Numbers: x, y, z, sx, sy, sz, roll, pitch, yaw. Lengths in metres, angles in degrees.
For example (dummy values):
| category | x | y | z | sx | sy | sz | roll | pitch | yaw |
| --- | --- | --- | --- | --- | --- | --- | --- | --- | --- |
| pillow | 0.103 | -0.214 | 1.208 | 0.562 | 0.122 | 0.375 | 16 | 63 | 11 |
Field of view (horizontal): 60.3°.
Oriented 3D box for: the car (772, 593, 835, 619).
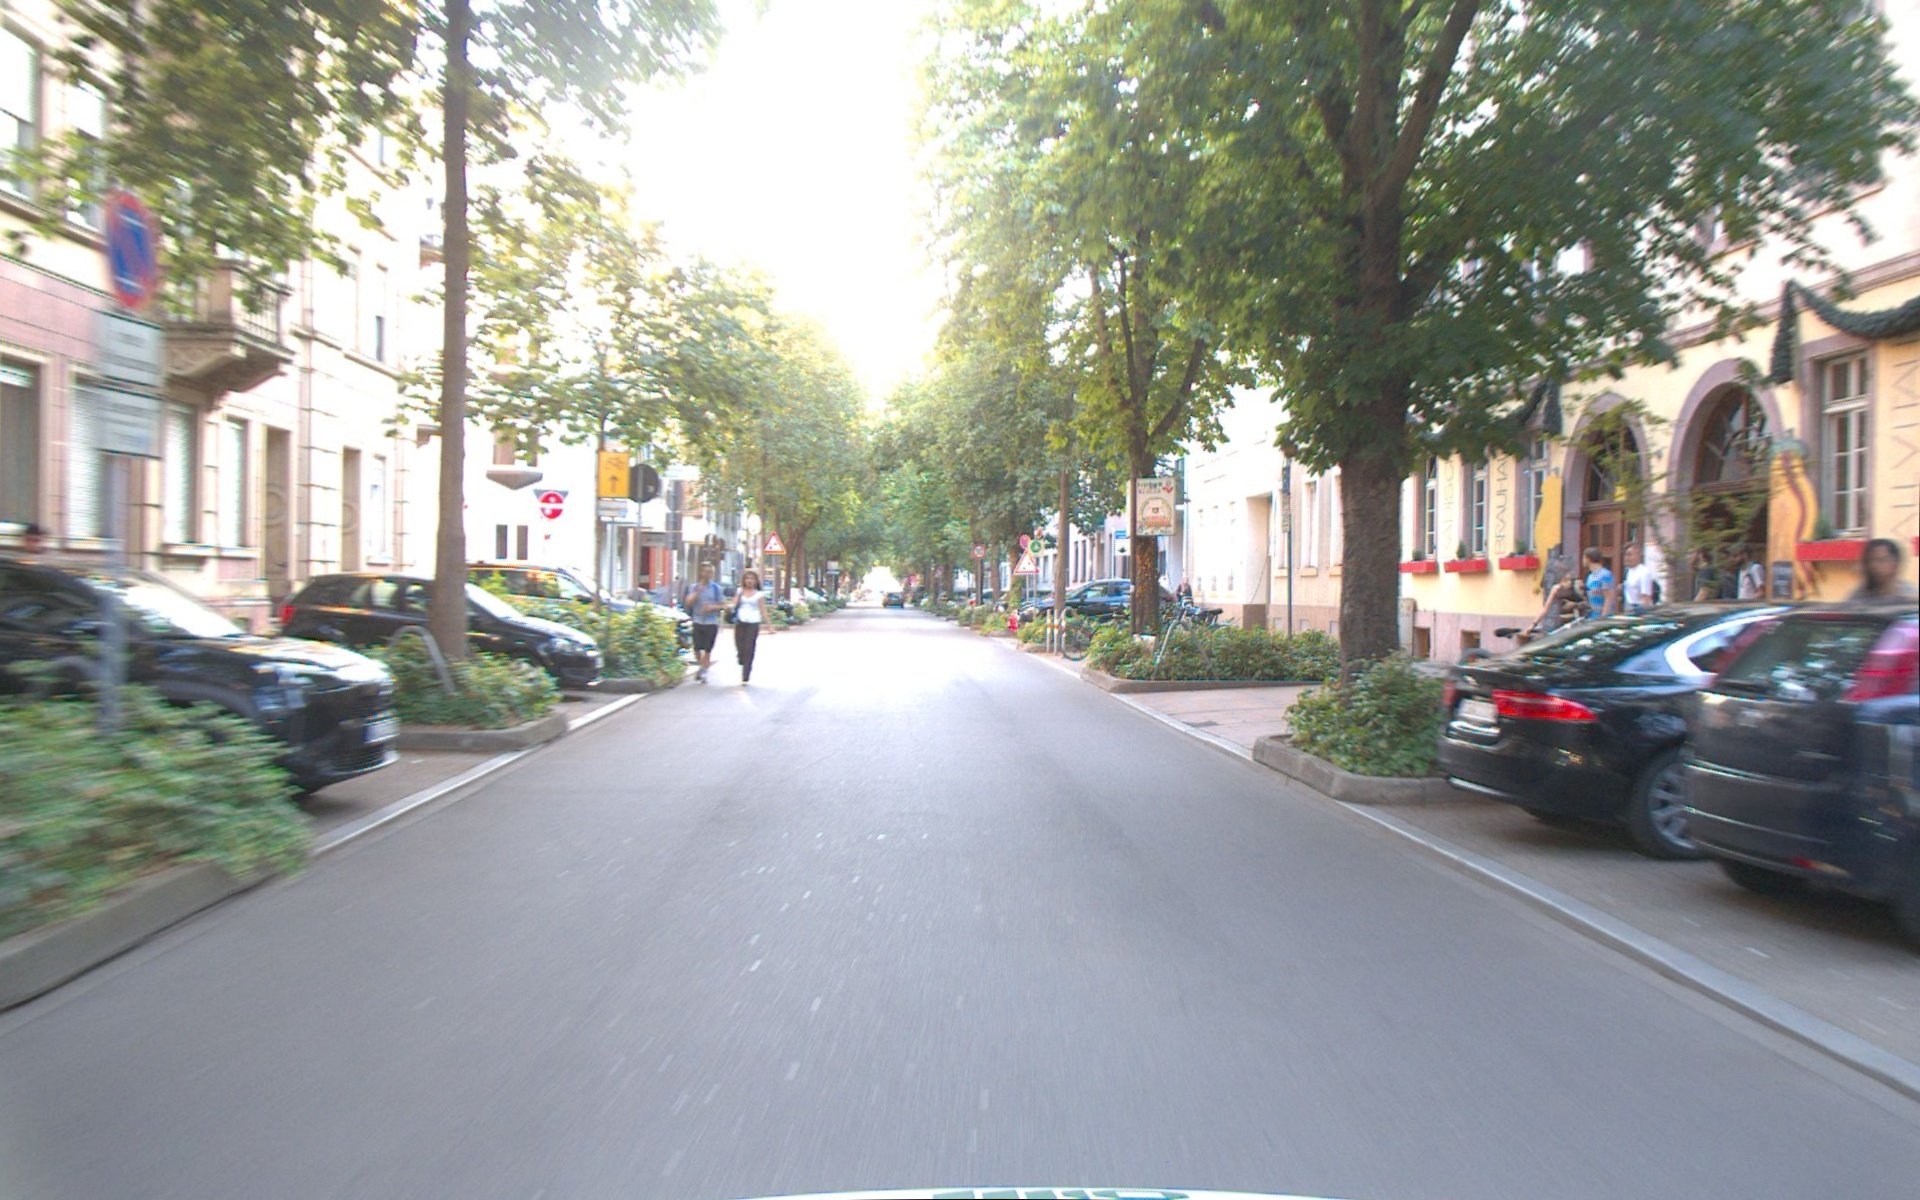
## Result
| category | x | y | z | sx | sy | sz | roll | pitch | yaw |
| --- | --- | --- | --- | --- | --- | --- | --- | --- | --- |
| car | -10.555 | 0.399 | 112.044 | 4.119 | 1.664 | 1.962 | -1 | 0 | -3 |

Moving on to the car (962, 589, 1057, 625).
| category | x | y | z | sx | sy | sz | roll | pitch | yaw |
| --- | --- | --- | --- | --- | --- | --- | --- | --- | --- |
| car | 2.065 | 0.285 | 70.146 | 3.802 | 1.465 | 1.845 | -1 | 0 | -6 |

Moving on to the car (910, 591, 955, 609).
| category | x | y | z | sx | sy | sz | roll | pitch | yaw |
| --- | --- | --- | --- | --- | --- | --- | --- | --- | --- |
| car | -2.598 | 0.025 | 155.320 | 4.183 | 1.593 | 1.962 | -1 | 0 | -3 |

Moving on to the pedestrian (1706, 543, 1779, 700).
| category | x | y | z | sx | sy | sz | roll | pitch | yaw |
| --- | --- | --- | --- | --- | --- | --- | --- | --- | --- |
| pedestrian | 9.041 | 0.237 | 19.131 | 0.710 | 1.769 | 0.744 | -1 | 1 | 24 |

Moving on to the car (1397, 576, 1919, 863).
| category | x | y | z | sx | sy | sz | roll | pitch | yaw |
| --- | --- | --- | --- | --- | --- | --- | --- | --- | --- |
| car | 5.151 | 0.624 | 10.230 | 4.315 | 1.418 | 1.884 | -3 | 0 | -5 |

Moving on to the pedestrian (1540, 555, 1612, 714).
| category | x | y | z | sx | sy | sz | roll | pitch | yaw |
| --- | --- | --- | --- | --- | --- | --- | --- | --- | --- |
| pedestrian | 7.054 | 0.384 | 18.957 | 0.696 | 1.769 | 0.748 | -1 | 1 | 17 |

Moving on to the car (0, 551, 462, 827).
| category | x | y | z | sx | sy | sz | roll | pitch | yaw |
| --- | --- | --- | --- | --- | --- | --- | --- | --- | --- |
| car | -5.383 | 0.502 | 10.511 | 3.867 | 1.559 | 1.906 | 1 | 0 | -4 |

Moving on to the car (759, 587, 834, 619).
| category | x | y | z | sx | sy | sz | roll | pitch | yaw |
| --- | --- | --- | --- | --- | --- | --- | --- | --- | --- |
| car | -10.299 | 0.186 | 104.328 | 4.589 | 1.886 | 1.962 | -1 | 0 | -3 |

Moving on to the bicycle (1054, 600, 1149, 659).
| category | x | y | z | sx | sy | sz | roll | pitch | yaw |
| --- | --- | --- | --- | --- | --- | --- | --- | --- | --- |
| bicycle | 2.894 | 0.588 | 33.864 | 1.805 | 1.155 | 0.742 | -1 | 0 | -13 |

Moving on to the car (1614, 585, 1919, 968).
| category | x | y | z | sx | sy | sz | roll | pitch | yaw |
| --- | --- | --- | --- | --- | --- | --- | --- | --- | --- |
| car | 5.431 | 0.643 | 7.763 | 3.909 | 1.462 | 1.925 | -3 | 0 | -5 |

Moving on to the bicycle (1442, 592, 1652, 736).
| category | x | y | z | sx | sy | sz | roll | pitch | yaw |
| --- | --- | --- | --- | --- | --- | --- | --- | --- | --- |
| bicycle | 5.559 | 0.584 | 15.680 | 1.763 | 1.254 | 0.671 | -2 | 0 | -13 |

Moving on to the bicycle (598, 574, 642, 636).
| category | x | y | z | sx | sy | sz | roll | pitch | yaw |
| --- | --- | --- | --- | --- | --- | --- | --- | --- | --- |
| bicycle | -6.328 | 0.111 | 30.847 | 0.512 | 1.077 | 1.860 | 4 | -2 | -5 |

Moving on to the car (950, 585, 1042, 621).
| category | x | y | z | sx | sy | sz | roll | pitch | yaw |
| --- | --- | --- | --- | --- | --- | --- | --- | --- | --- |
| car | 1.809 | 0.143 | 84.049 | 4.622 | 1.740 | 1.949 | 1 | 1 | -1 |

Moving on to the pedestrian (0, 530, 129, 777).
| category | x | y | z | sx | sy | sz | roll | pitch | yaw |
| --- | --- | --- | --- | --- | --- | --- | --- | --- | --- |
| pedestrian | -6.741 | 0.383 | 12.300 | 0.719 | 1.769 | 0.671 | 2 | 0 | 3 |

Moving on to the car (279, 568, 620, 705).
| category | x | y | z | sx | sy | sz | roll | pitch | yaw |
| --- | --- | --- | --- | --- | --- | --- | --- | --- | --- |
| car | -6.200 | 0.422 | 20.429 | 3.619 | 1.483 | 1.871 | 2 | 1 | -4 |

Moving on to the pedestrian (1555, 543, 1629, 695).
| category | x | y | z | sx | sy | sz | roll | pitch | yaw |
| --- | --- | --- | --- | --- | --- | --- | --- | --- | --- |
| pedestrian | 7.568 | 0.217 | 19.832 | 0.603 | 1.769 | 0.623 | -1 | 1 | -3 |

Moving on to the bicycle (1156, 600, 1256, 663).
| category | x | y | z | sx | sy | sz | roll | pitch | yaw |
| --- | --- | --- | --- | --- | --- | --- | --- | --- | --- |
| bicycle | 4.653 | 0.594 | 31.336 | 1.761 | 1.148 | 0.663 | -1 | 0 | -9 |

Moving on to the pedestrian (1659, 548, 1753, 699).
| category | x | y | z | sx | sy | sz | roll | pitch | yaw |
| --- | --- | --- | --- | --- | --- | --- | --- | --- | --- |
| pedestrian | 9.038 | 0.269 | 20.052 | 0.765 | 1.769 | 0.681 | -2 | 1 | -19 |

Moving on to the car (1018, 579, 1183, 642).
| category | x | y | z | sx | sy | sz | roll | pitch | yaw |
| --- | --- | --- | --- | --- | --- | --- | --- | --- | --- |
| car | 3.825 | 0.274 | 45.539 | 4.336 | 1.685 | 1.899 | 0 | 0 | -2 |

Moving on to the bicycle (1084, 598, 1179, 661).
| category | x | y | z | sx | sy | sz | roll | pitch | yaw |
| --- | --- | --- | --- | --- | --- | --- | --- | --- | --- |
| bicycle | 3.371 | 0.573 | 32.561 | 1.793 | 1.199 | 0.600 | -1 | 0 | -4 |

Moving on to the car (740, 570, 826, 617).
| category | x | y | z | sx | sy | sz | roll | pitch | yaw |
| --- | --- | --- | --- | --- | --- | --- | --- | --- | --- |
| car | -9.791 | -0.356 | 91.905 | 4.589 | 2.521 | 1.999 | 1 | 0 | -3 |

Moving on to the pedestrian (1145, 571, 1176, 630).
| category | x | y | z | sx | sy | sz | roll | pitch | yaw |
| --- | --- | --- | --- | --- | --- | --- | --- | --- | --- |
| pedestrian | 6.047 | 0.019 | 49.878 | 0.683 | 1.767 | 0.666 | 0 | 0 | -34 |

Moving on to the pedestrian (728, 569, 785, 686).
| category | x | y | z | sx | sy | sz | roll | pitch | yaw |
| --- | --- | --- | --- | --- | --- | --- | --- | --- | --- |
| pedestrian | -3.007 | 0.394 | 24.499 | 0.779 | 1.700 | 0.831 | 0 | 0 | -4 |

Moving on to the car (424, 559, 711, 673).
| category | x | y | z | sx | sy | sz | roll | pitch | yaw |
| --- | --- | --- | --- | --- | --- | --- | --- | --- | --- |
| car | -6.518 | 0.246 | 27.825 | 4.337 | 1.680 | 1.872 | 2 | 1 | -2 |

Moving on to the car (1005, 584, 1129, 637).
| category | x | y | z | sx | sy | sz | roll | pitch | yaw |
| --- | --- | --- | --- | --- | --- | --- | --- | --- | --- |
| car | 3.132 | 0.304 | 48.799 | 3.415 | 1.478 | 1.897 | -1 | 0 | -5 |

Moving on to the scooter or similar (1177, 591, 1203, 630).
| category | x | y | z | sx | sy | sz | roll | pitch | yaw |
| --- | --- | --- | --- | --- | --- | --- | --- | --- | --- |
| scooter or similar | 6.891 | 0.311 | 49.599 | 0.641 | 1.173 | 0.831 | 0 | 0 | -2 |

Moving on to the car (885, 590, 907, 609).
| category | x | y | z | sx | sy | sz | roll | pitch | yaw |
| --- | --- | --- | --- | --- | --- | --- | --- | --- | --- |
| car | -5.663 | -0.025 | 146.358 | 1.917 | 1.593 | 4.280 | -1 | 0 | -3 |

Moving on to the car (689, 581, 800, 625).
| category | x | y | z | sx | sy | sz | roll | pitch | yaw |
| --- | --- | --- | --- | --- | --- | --- | --- | --- | --- |
| car | -8.140 | 0.110 | 62.756 | 4.045 | 1.512 | 1.928 | 1 | 0 | -4 |

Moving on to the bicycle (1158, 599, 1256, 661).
| category | x | y | z | sx | sy | sz | roll | pitch | yaw |
| --- | --- | --- | --- | --- | --- | --- | --- | --- | --- |
| bicycle | 4.799 | 0.576 | 32.162 | 1.762 | 1.163 | 0.649 | -1 | 0 | -12 |

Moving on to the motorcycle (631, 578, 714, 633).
| category | x | y | z | sx | sy | sz | roll | pitch | yaw |
| --- | --- | --- | --- | --- | --- | --- | --- | --- | --- |
| motorcycle | -8.159 | 0.145 | 46.886 | 2.177 | 1.507 | 0.854 | 1 | 1 | -22 |

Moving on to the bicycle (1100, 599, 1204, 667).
| category | x | y | z | sx | sy | sz | roll | pitch | yaw |
| --- | --- | --- | --- | --- | --- | --- | --- | --- | --- |
| bicycle | 3.518 | 0.597 | 30.363 | 1.793 | 1.199 | 0.672 | -1 | 0 | -4 |

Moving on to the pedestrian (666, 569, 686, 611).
| category | x | y | z | sx | sy | sz | roll | pitch | yaw |
| --- | --- | --- | --- | --- | --- | --- | --- | --- | --- |
| pedestrian | -12.188 | -0.429 | 70.935 | 0.689 | 1.758 | 0.904 | 1 | 0 | -3 |

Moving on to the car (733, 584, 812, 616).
| category | x | y | z | sx | sy | sz | roll | pitch | yaw |
| --- | --- | --- | --- | --- | --- | --- | --- | --- | --- |
| car | -9.446 | -0.006 | 83.638 | 3.792 | 1.512 | 1.756 | 1 | 0 | -1 |

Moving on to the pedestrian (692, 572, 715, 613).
| category | x | y | z | sx | sy | sz | roll | pitch | yaw |
| --- | --- | --- | --- | --- | --- | --- | --- | --- | --- |
| pedestrian | -11.382 | -0.325 | 73.331 | 0.688 | 1.787 | 0.740 | 1 | 0 | 21 |

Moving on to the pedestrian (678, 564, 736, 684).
| category | x | y | z | sx | sy | sz | roll | pitch | yaw |
| --- | --- | --- | --- | --- | --- | --- | --- | --- | --- |
| pedestrian | -3.797 | 0.349 | 24.866 | 0.779 | 1.767 | 0.831 | 0 | 0 | -4 |

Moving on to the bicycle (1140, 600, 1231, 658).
| category | x | y | z | sx | sy | sz | roll | pitch | yaw |
| --- | --- | --- | --- | --- | --- | --- | --- | --- | --- |
| bicycle | 4.562 | 0.584 | 33.521 | 1.761 | 1.127 | 0.499 | -1 | 0 | -9 |

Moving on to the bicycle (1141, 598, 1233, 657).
| category | x | y | z | sx | sy | sz | roll | pitch | yaw |
| --- | --- | --- | --- | --- | --- | --- | --- | --- | --- |
| bicycle | 4.701 | 0.558 | 34.215 | 1.763 | 1.163 | 0.667 | -1 | 0 | -12 |

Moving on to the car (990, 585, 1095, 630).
| category | x | y | z | sx | sy | sz | roll | pitch | yaw |
| --- | --- | --- | --- | --- | --- | --- | --- | --- | --- |
| car | 2.832 | 0.246 | 57.298 | 3.415 | 1.478 | 1.897 | -1 | 0 | -5 |

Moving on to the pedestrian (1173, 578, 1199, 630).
| category | x | y | z | sx | sy | sz | roll | pitch | yaw |
| --- | --- | --- | --- | --- | --- | --- | --- | --- | --- |
| pedestrian | 6.866 | 0.112 | 50.227 | 0.641 | 1.563 | 0.831 | 0 | 0 | -2 |
